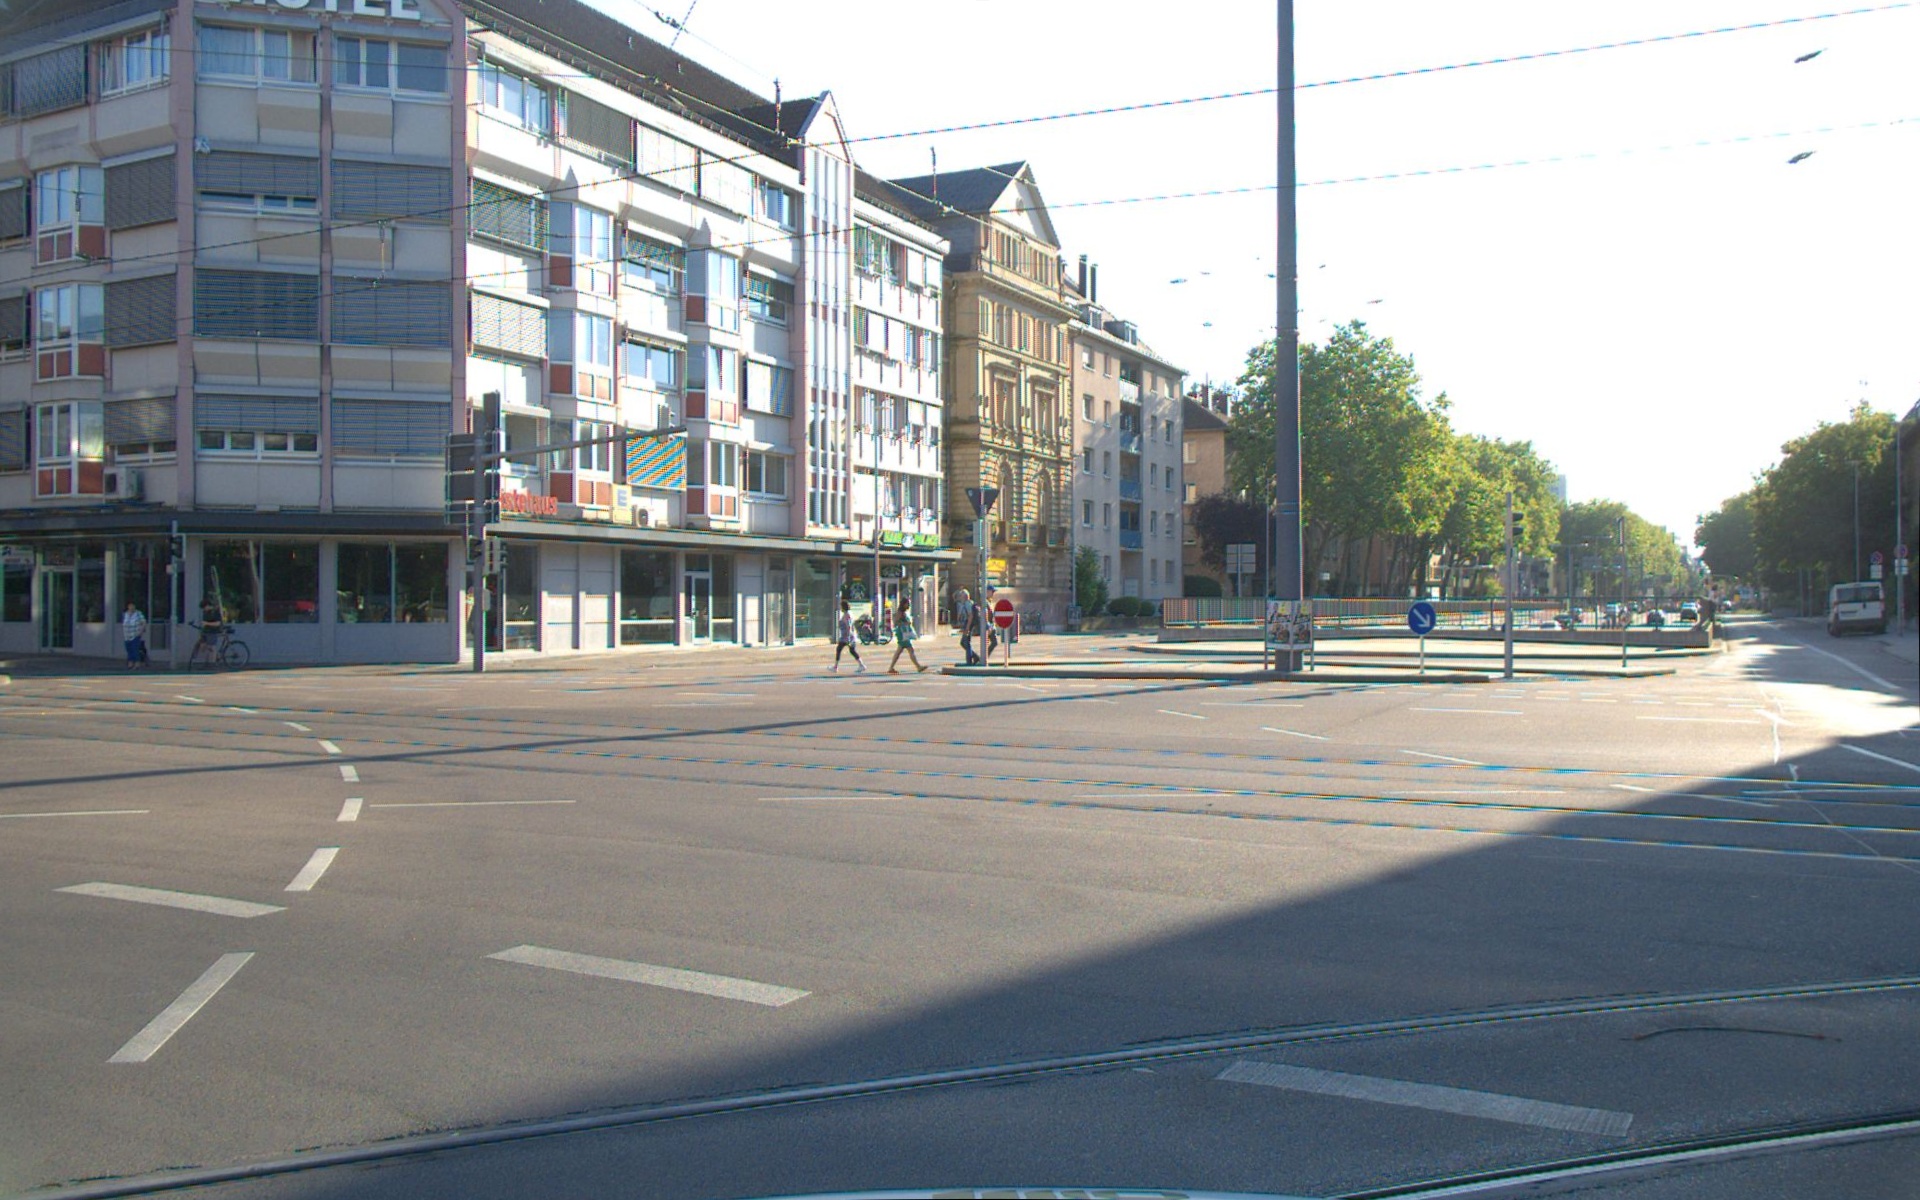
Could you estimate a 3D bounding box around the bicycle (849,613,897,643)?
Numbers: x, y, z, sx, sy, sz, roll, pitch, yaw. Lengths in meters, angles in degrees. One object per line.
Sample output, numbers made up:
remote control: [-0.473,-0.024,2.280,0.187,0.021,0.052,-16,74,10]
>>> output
bicycle: [-3.226,1.024,61.532,0.444,1.089,2.080,1,0,41]

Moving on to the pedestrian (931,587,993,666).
pedestrian: [0.058,0.592,38.035,1.170,1.761,0.856,1,0,20]

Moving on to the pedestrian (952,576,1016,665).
pedestrian: [0.537,0.439,36.530,1.170,1.916,0.856,1,1,20]

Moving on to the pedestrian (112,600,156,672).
pedestrian: [-19.680,0.856,39.414,0.699,1.691,0.633,-1,-1,1]

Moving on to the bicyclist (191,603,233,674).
bicyclist: [-17.753,0.898,39.264,0.626,1.624,0.657,1,3,28]

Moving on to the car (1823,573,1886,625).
car: [40.302,-0.053,74.621,2.241,2.210,4.828,1,0,26]

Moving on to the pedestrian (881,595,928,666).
pedestrian: [-1.174,0.633,35.098,0.690,1.478,0.856,1,0,20]

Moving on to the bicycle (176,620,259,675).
bicycle: [-17.681,1.122,39.418,0.626,1.165,1.767,1,3,28]

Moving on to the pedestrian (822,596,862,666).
pedestrian: [-2.609,0.690,36.465,0.837,1.491,0.685,1,-5,-4]

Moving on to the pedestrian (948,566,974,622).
pedestrian: [0.049,-0.277,73.361,0.907,2.440,0.961,1,0,14]
